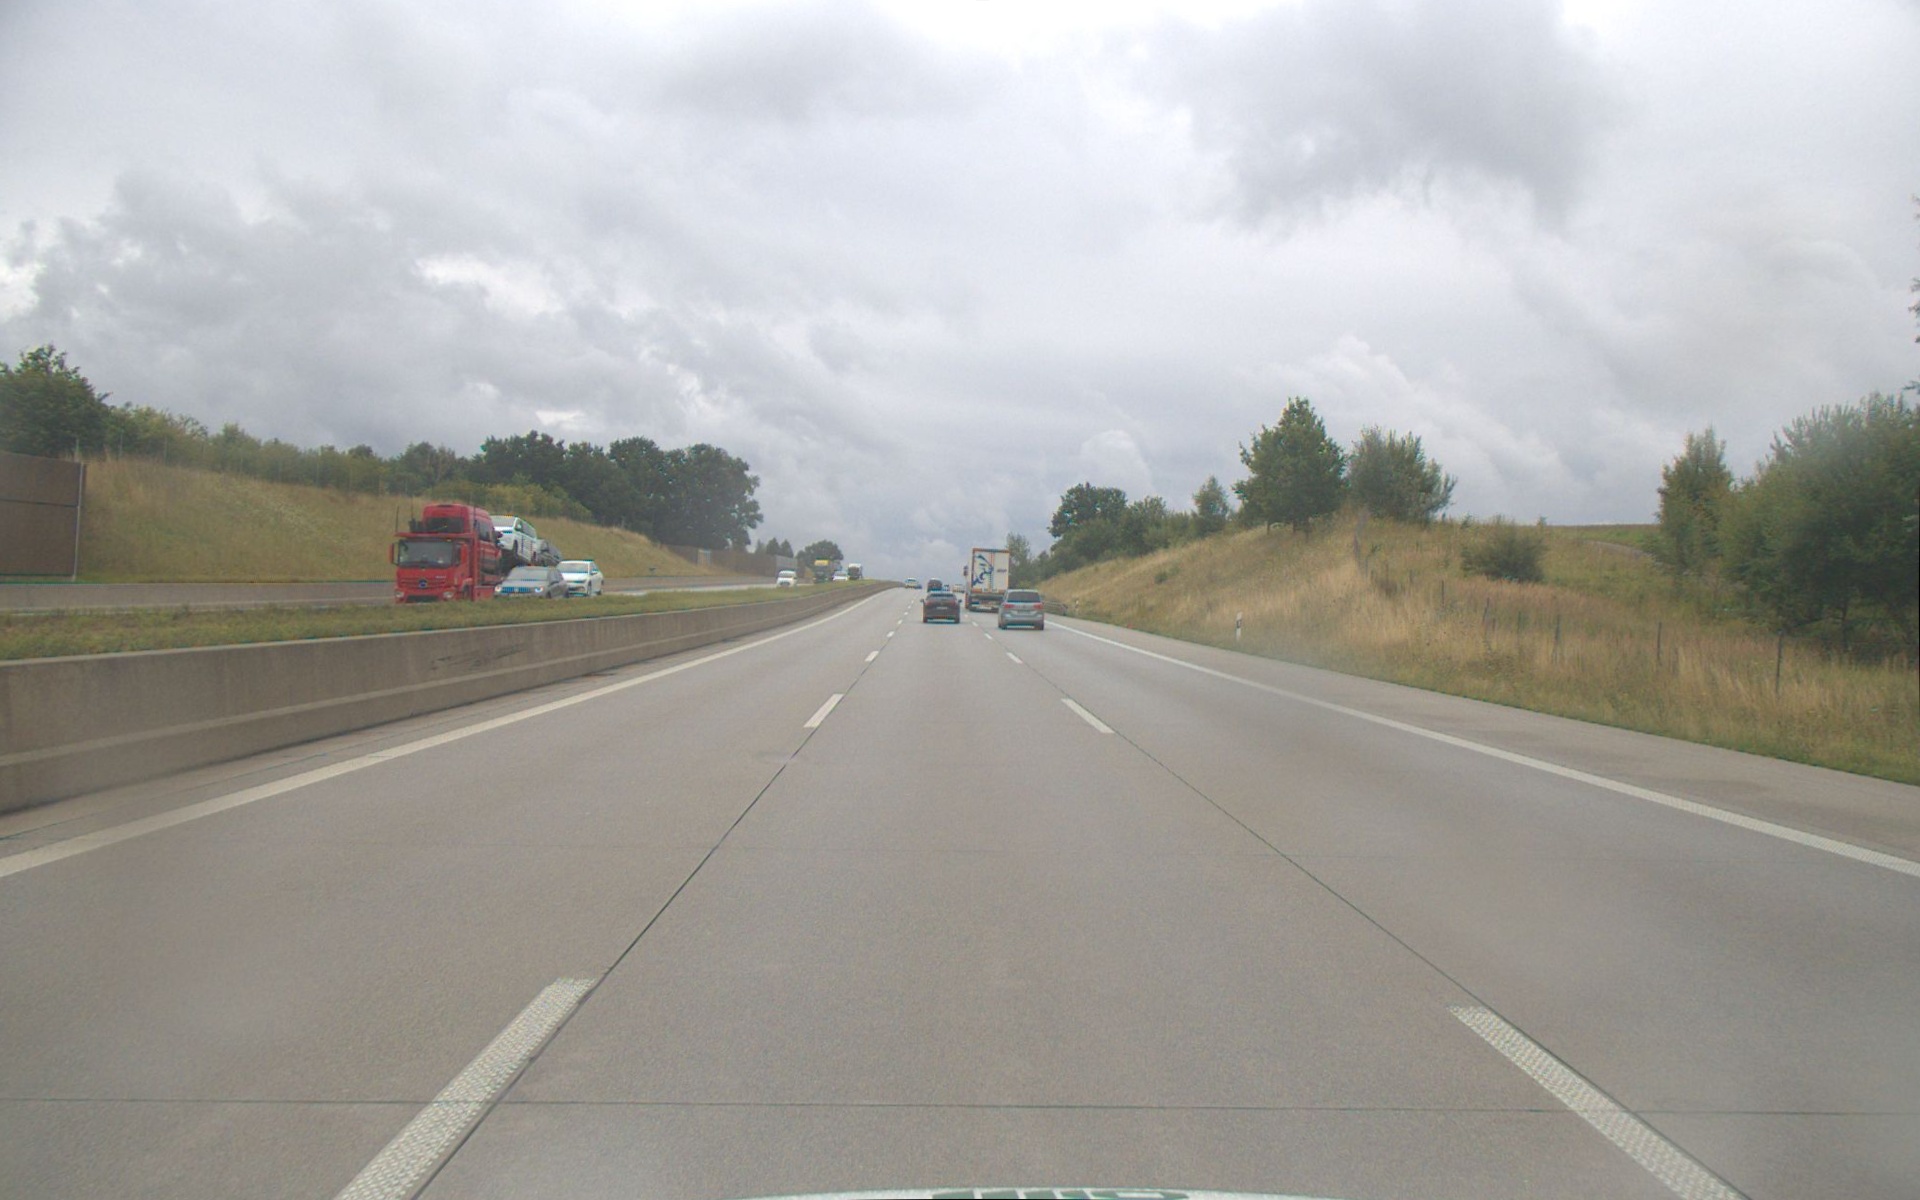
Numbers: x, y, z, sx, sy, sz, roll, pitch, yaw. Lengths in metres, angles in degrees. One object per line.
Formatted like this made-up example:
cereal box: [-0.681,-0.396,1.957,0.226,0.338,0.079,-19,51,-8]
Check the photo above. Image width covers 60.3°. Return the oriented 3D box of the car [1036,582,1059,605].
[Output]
car: [7.995,-0.598,151.610,1.952,2.049,4.000,1,0,1]

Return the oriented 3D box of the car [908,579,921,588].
car: [-7.024,-2.542,255.472,1.907,1.379,4.259,1,0,0]

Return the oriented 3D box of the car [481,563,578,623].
car: [-15.640,-0.244,60.393,2.105,2.049,5.747,1,0,-1]

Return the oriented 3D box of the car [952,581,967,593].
car: [-0.057,-1.916,242.397,1.952,1.668,4.000,1,0,1]

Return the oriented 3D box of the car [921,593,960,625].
car: [-0.937,0.427,77.100,1.717,1.423,4.482,1,-1,-2]

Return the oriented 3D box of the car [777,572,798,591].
car: [-17.663,-1.922,169.525,1.726,1.892,3.999,1,0,-1]

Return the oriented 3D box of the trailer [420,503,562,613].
trailer: [-20.155,-1.650,72.159,2.501,4.291,13.984,1,0,-1]

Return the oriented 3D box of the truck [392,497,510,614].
truck: [-19.969,-1.657,65.293,2.500,4.326,7.461,1,0,-2]

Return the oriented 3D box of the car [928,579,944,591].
car: [-3.080,-1.930,212.204,1.895,1.399,4.594,2,-1,0]

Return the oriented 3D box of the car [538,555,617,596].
car: [-15.798,-1.032,68.611,2.105,1.578,5.349,1,1,-1]

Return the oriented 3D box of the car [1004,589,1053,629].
car: [2.804,0.352,68.481,1.952,1.557,4.001,1,0,1]

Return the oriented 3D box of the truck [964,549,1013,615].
truck: [1.848,-1.137,110.776,2.956,4.254,8.352,1,0,-1]
